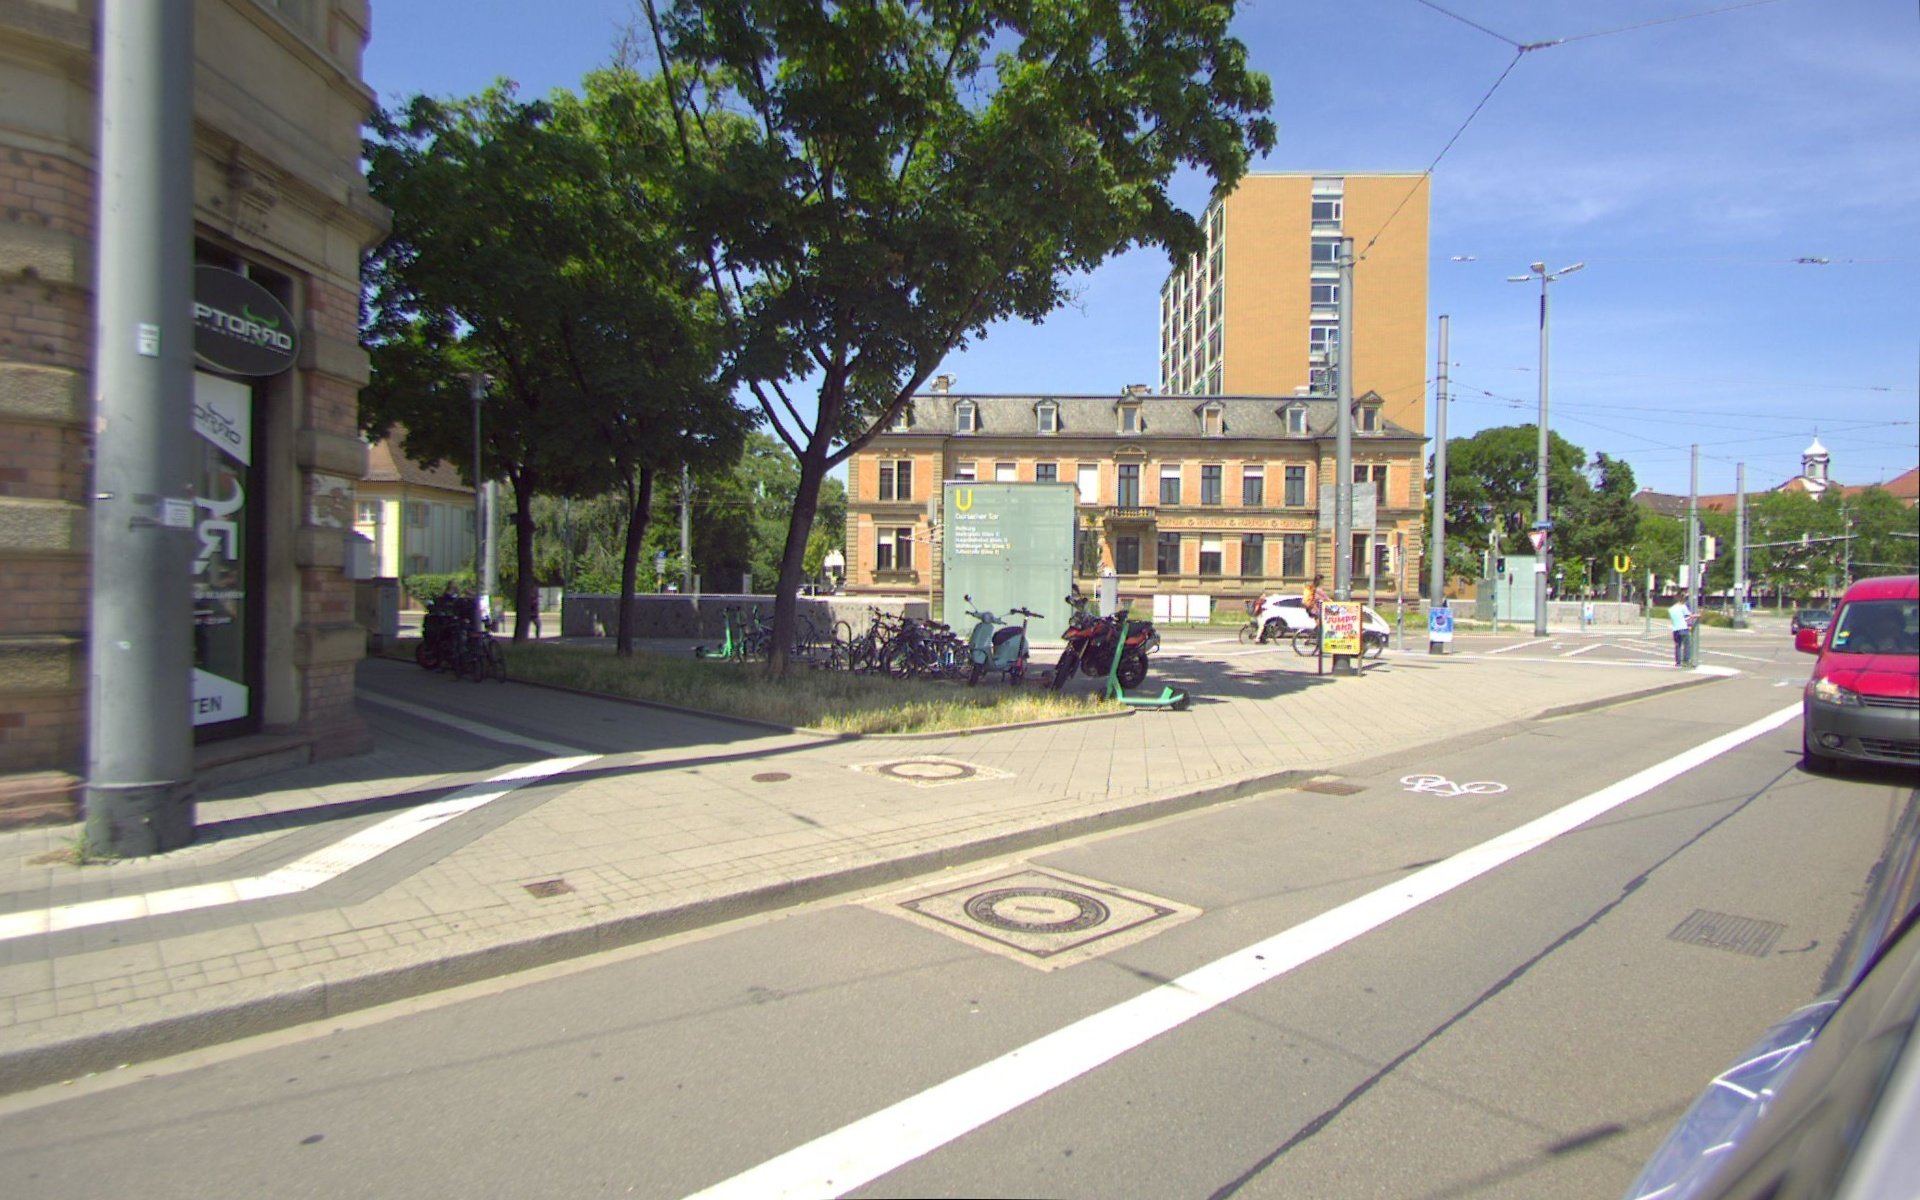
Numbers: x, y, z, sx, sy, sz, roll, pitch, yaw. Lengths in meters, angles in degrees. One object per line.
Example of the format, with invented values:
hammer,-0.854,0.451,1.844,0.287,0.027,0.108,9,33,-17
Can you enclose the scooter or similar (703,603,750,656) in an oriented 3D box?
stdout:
scooter or similar,-5.143,0.651,22.298,0.972,1.140,0.267,1,0,14

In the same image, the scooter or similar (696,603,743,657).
scooter or similar,-5.218,0.645,21.988,0.972,1.140,0.267,1,0,14

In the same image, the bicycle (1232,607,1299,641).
bicycle,9.757,0.756,32.398,1.989,1.018,0.723,1,0,13

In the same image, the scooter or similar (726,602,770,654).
scooter or similar,-4.843,0.635,23.122,0.972,1.140,0.267,1,0,14

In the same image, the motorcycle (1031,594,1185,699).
motorcycle,2.182,0.613,14.646,2.551,1.379,0.765,0,1,-42

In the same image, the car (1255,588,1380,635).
car,13.260,0.392,37.746,4.108,1.625,1.704,1,1,9

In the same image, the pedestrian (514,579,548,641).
pedestrian,-11.368,0.268,26.826,0.591,1.616,0.613,1,0,8

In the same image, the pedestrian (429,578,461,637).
pedestrian,-15.232,0.221,29.954,0.576,1.720,0.613,1,0,8

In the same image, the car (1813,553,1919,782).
car,9.206,0.543,9.445,1.750,1.835,4.034,1,1,42

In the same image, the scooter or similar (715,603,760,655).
scooter or similar,-4.987,0.640,22.697,0.972,1.140,0.267,1,0,14

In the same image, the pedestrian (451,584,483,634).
pedestrian,-14.546,0.265,29.880,0.604,1.461,0.584,1,0,8

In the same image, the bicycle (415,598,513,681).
bicycle,-7.747,0.579,15.778,1.874,1.193,0.704,1,1,41

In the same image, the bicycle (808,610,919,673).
bicycle,-1.612,0.673,17.039,1.806,0.977,0.646,0,0,-40

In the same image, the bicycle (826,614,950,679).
bicycle,-1.147,0.726,16.477,2.046,0.977,0.646,0,0,-42

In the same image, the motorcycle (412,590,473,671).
motorcycle,-8.894,0.498,17.366,0.494,1.306,1.642,1,0,-43

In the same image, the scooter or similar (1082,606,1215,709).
scooter or similar,2.326,0.683,12.455,1.505,1.170,0.711,1,0,19

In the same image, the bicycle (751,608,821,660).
bicycle,-3.558,0.685,20.777,0.500,1.004,1.551,1,0,32

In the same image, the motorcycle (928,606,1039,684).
motorcycle,0.384,0.663,15.676,1.718,1.110,0.692,0,1,-42

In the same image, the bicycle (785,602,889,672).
bicycle,-2.114,0.614,17.631,0.645,1.161,1.810,1,0,43

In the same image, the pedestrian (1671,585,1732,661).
pedestrian,17.975,0.541,24.557,0.856,1.802,0.811,1,0,-10

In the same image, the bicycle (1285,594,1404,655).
bicycle,8.417,0.529,22.239,2.181,1.266,1.098,1,0,4

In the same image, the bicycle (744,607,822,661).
bicycle,-3.412,0.653,19.511,1.399,1.004,0.457,1,0,-26

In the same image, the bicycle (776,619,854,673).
bicycle,-2.587,0.805,18.153,0.455,0.917,1.407,1,0,43

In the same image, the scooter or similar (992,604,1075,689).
scooter or similar,1.117,0.666,15.103,0.599,1.166,1.361,1,1,37

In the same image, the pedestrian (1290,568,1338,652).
pedestrian,7.784,0.209,22.286,0.810,1.797,0.814,0,1,4
